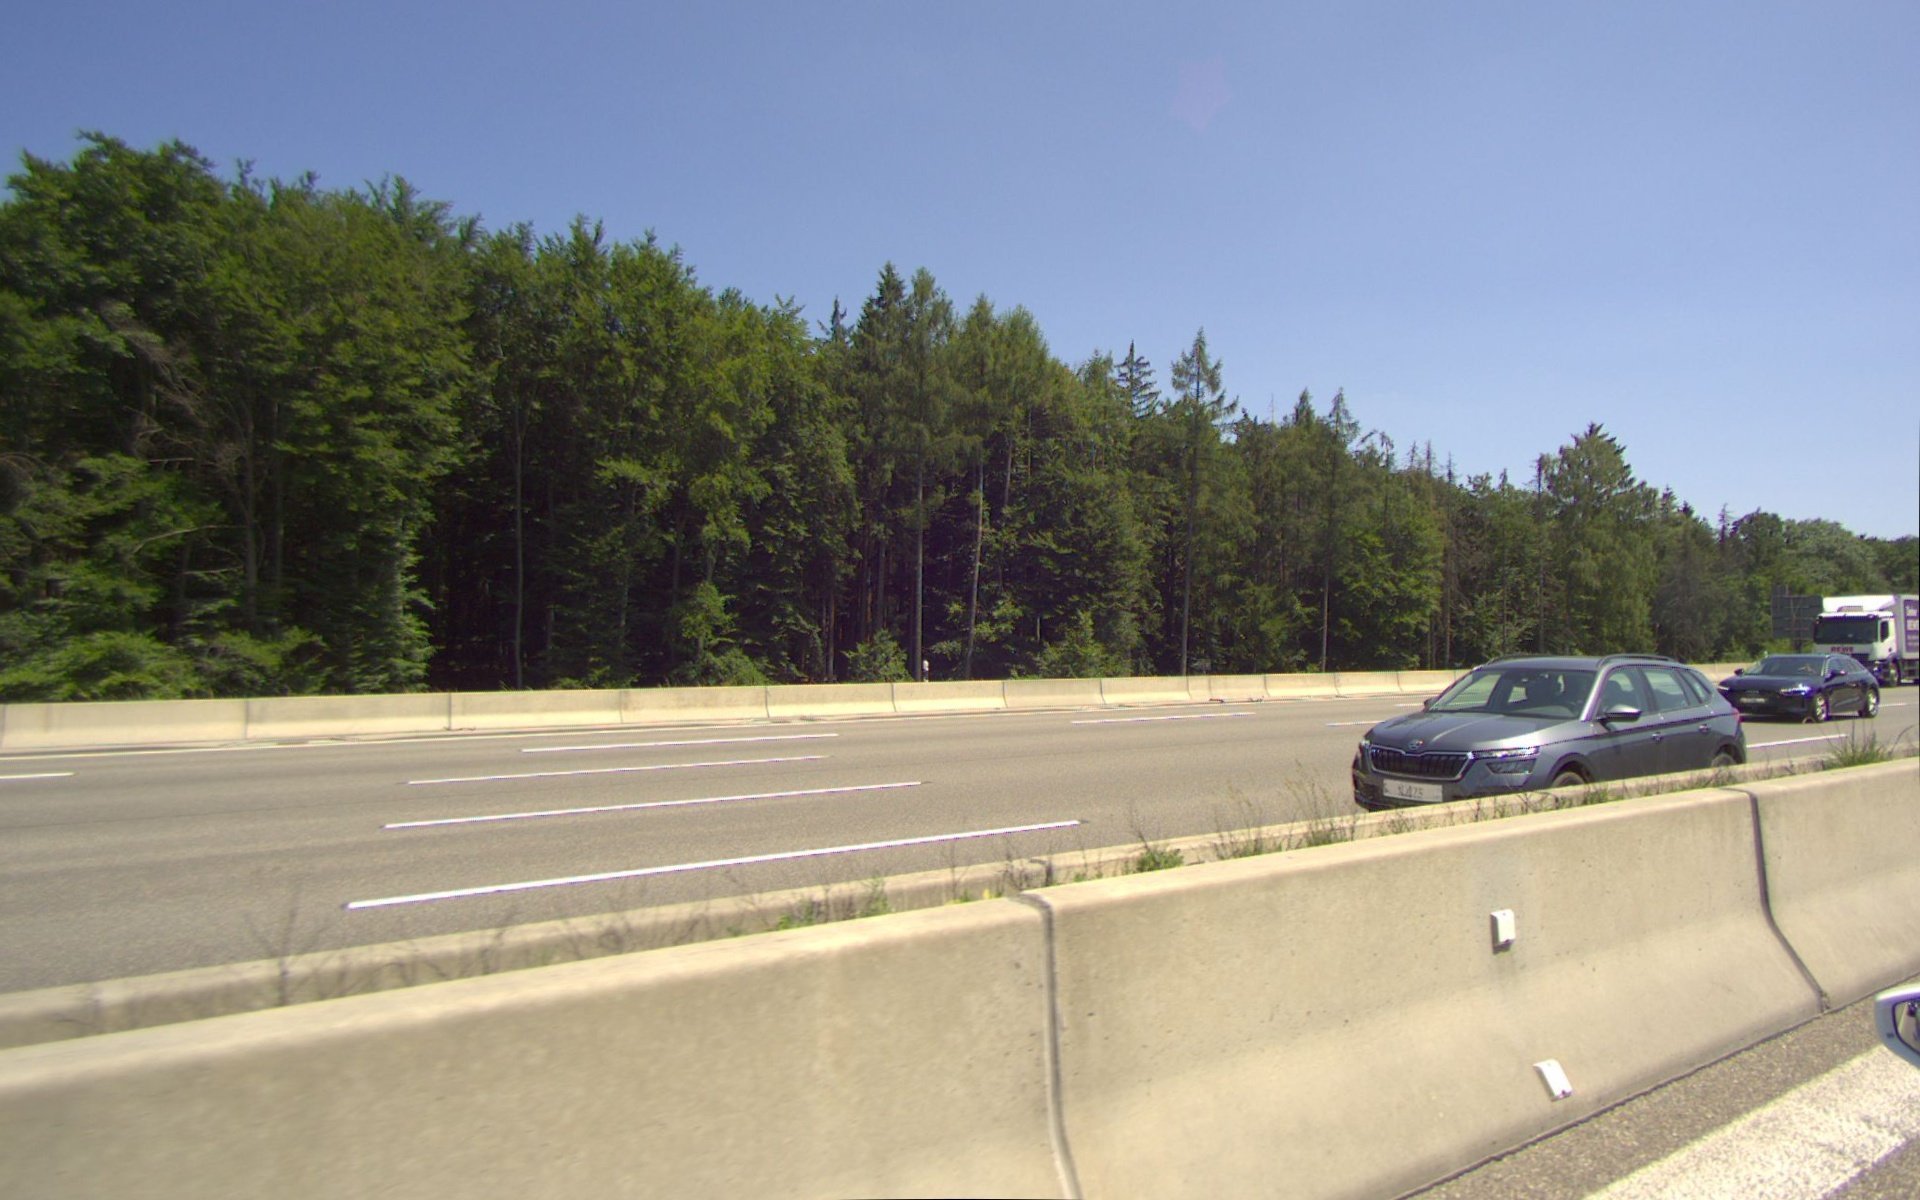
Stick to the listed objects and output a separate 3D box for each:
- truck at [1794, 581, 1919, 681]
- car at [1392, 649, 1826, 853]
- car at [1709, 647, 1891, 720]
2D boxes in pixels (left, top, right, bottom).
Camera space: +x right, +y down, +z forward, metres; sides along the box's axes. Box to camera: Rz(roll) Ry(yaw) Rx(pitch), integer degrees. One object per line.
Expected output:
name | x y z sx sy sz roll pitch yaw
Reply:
truck | 40.129 1.444 43.640 10.117 3.990 2.707 2 -3 -31
car | 6.245 1.249 9.562 4.300 1.532 1.709 1 -3 -30
car | 19.297 1.847 23.014 4.852 1.468 1.709 1 -2 -31
